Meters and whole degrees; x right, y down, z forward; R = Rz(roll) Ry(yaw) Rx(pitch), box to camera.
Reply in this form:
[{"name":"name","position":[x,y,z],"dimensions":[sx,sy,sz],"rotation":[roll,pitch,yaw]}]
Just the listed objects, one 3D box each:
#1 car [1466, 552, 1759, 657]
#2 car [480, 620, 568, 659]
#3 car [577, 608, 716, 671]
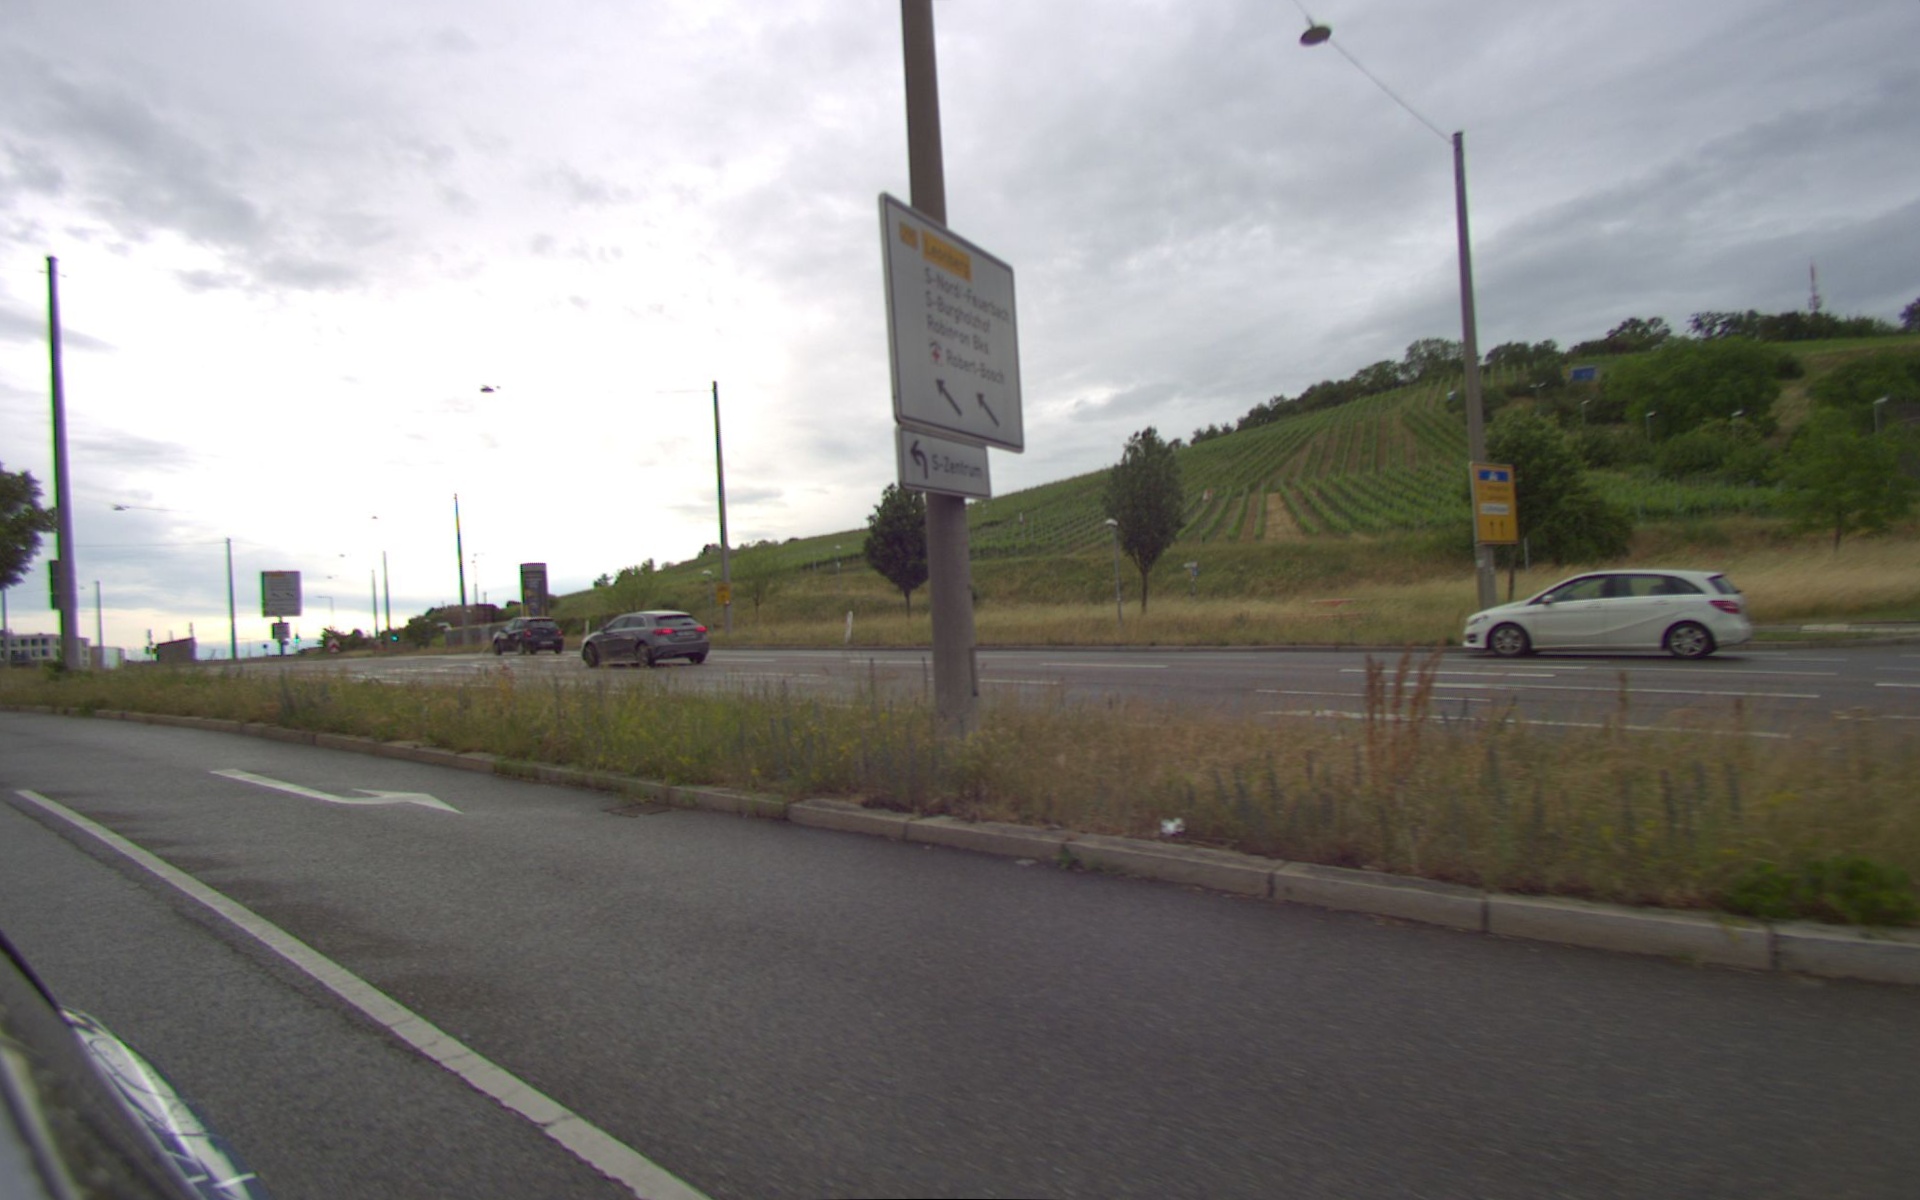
[{"name":"car","position":[11.568,0.058,18.103],"dimensions":[4.177,1.660,1.749],"rotation":[0,1,42]},{"name":"car","position":[-17.726,1.558,41.065],"dimensions":[3.999,1.394,1.749],"rotation":[0,1,42]},{"name":"car","position":[-8.469,1.050,27.180],"dimensions":[3.999,1.529,1.749],"rotation":[-3,-1,42]}]
